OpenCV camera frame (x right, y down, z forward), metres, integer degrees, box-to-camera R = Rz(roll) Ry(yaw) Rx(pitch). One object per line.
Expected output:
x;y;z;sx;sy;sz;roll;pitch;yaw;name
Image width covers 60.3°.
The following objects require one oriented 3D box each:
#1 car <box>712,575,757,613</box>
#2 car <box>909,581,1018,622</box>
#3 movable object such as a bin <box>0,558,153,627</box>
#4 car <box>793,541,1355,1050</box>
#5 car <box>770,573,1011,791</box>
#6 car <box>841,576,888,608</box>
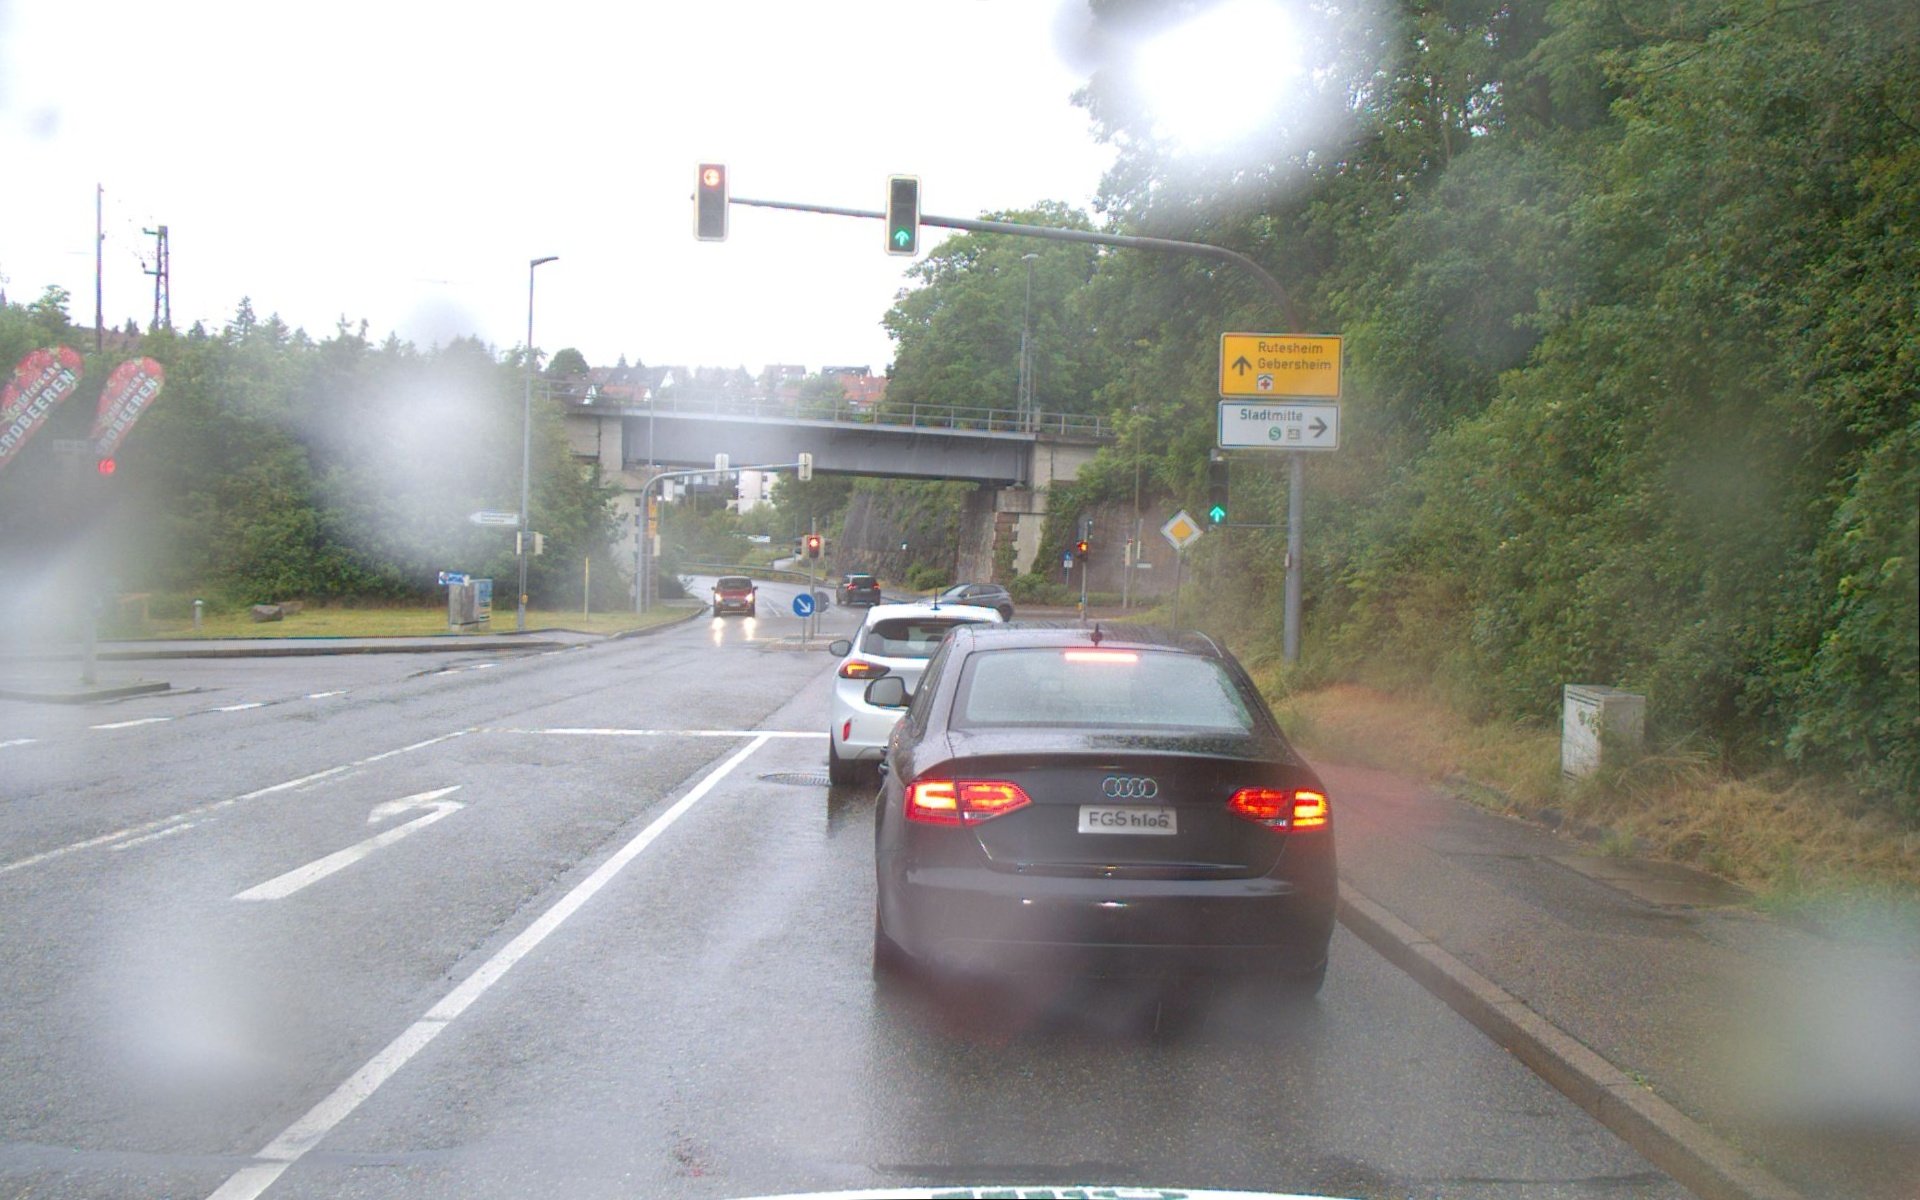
-10.164;-0.284;74.748;1.956;1.657;3.993;0;0;-8;car
0.150;0.067;64.794;3.936;1.495;1.632;2;0;-25;car
-23.857;-0.171;41.654;2.699;1.656;5.752;0;-1;39;movable object such as a bin
0.347;0.673;7.417;1.832;1.645;3.999;1;-1;-1;car
-0.553;0.649;14.387;1.786;1.613;3.999;1;-1;-1;car
-4.949;-0.418;85.345;1.957;1.624;3.991;0;0;-10;car
